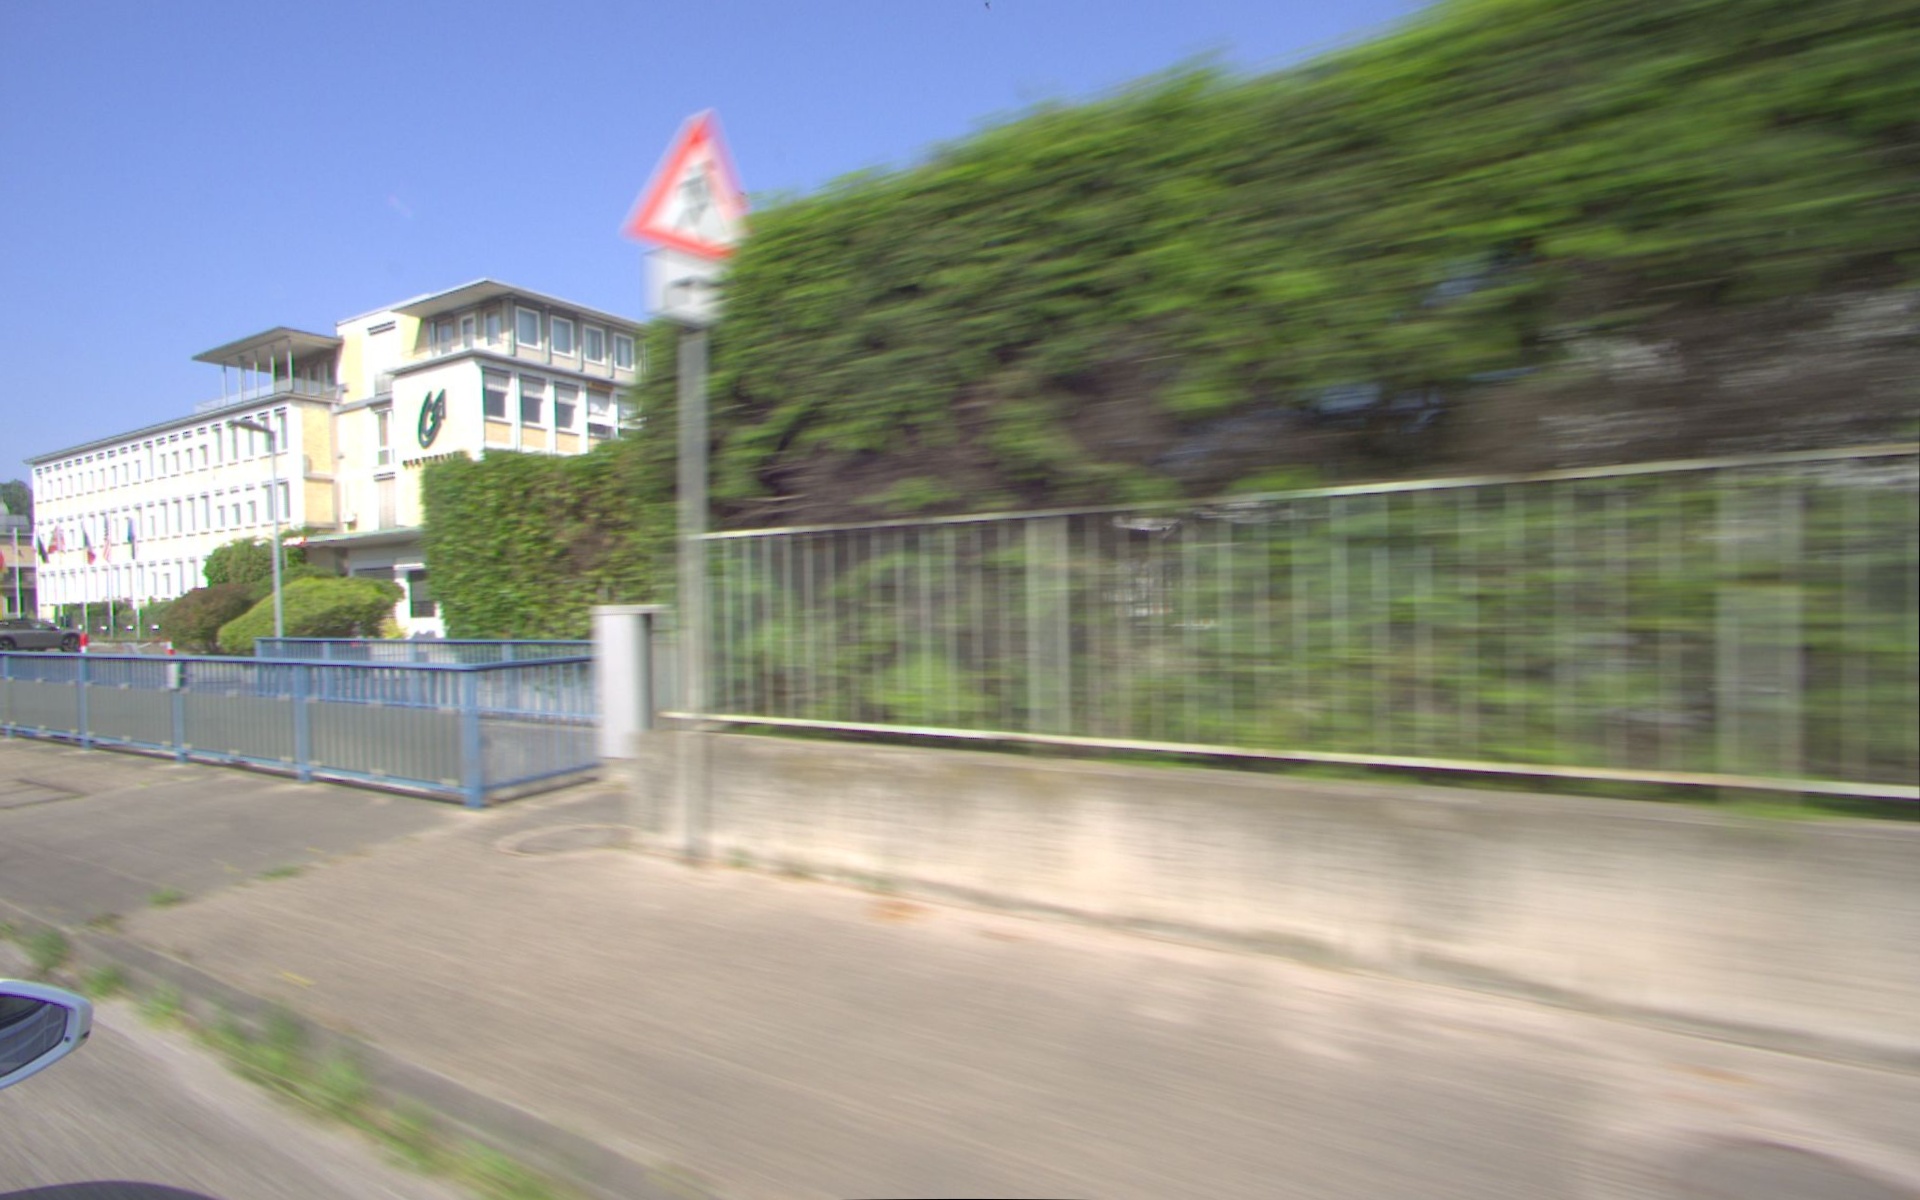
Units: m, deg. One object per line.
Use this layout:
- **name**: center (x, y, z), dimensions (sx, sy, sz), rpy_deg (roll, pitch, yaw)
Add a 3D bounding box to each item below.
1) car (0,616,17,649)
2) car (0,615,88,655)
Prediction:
- **car**: center (-46.205, 1.558, 45.976), dimensions (1.849, 1.524, 3.999), rpy_deg (-1, 0, 3)
- **car**: center (-39.063, 1.434, 41.515), dimensions (1.849, 1.524, 4.311), rpy_deg (-1, 0, 3)
